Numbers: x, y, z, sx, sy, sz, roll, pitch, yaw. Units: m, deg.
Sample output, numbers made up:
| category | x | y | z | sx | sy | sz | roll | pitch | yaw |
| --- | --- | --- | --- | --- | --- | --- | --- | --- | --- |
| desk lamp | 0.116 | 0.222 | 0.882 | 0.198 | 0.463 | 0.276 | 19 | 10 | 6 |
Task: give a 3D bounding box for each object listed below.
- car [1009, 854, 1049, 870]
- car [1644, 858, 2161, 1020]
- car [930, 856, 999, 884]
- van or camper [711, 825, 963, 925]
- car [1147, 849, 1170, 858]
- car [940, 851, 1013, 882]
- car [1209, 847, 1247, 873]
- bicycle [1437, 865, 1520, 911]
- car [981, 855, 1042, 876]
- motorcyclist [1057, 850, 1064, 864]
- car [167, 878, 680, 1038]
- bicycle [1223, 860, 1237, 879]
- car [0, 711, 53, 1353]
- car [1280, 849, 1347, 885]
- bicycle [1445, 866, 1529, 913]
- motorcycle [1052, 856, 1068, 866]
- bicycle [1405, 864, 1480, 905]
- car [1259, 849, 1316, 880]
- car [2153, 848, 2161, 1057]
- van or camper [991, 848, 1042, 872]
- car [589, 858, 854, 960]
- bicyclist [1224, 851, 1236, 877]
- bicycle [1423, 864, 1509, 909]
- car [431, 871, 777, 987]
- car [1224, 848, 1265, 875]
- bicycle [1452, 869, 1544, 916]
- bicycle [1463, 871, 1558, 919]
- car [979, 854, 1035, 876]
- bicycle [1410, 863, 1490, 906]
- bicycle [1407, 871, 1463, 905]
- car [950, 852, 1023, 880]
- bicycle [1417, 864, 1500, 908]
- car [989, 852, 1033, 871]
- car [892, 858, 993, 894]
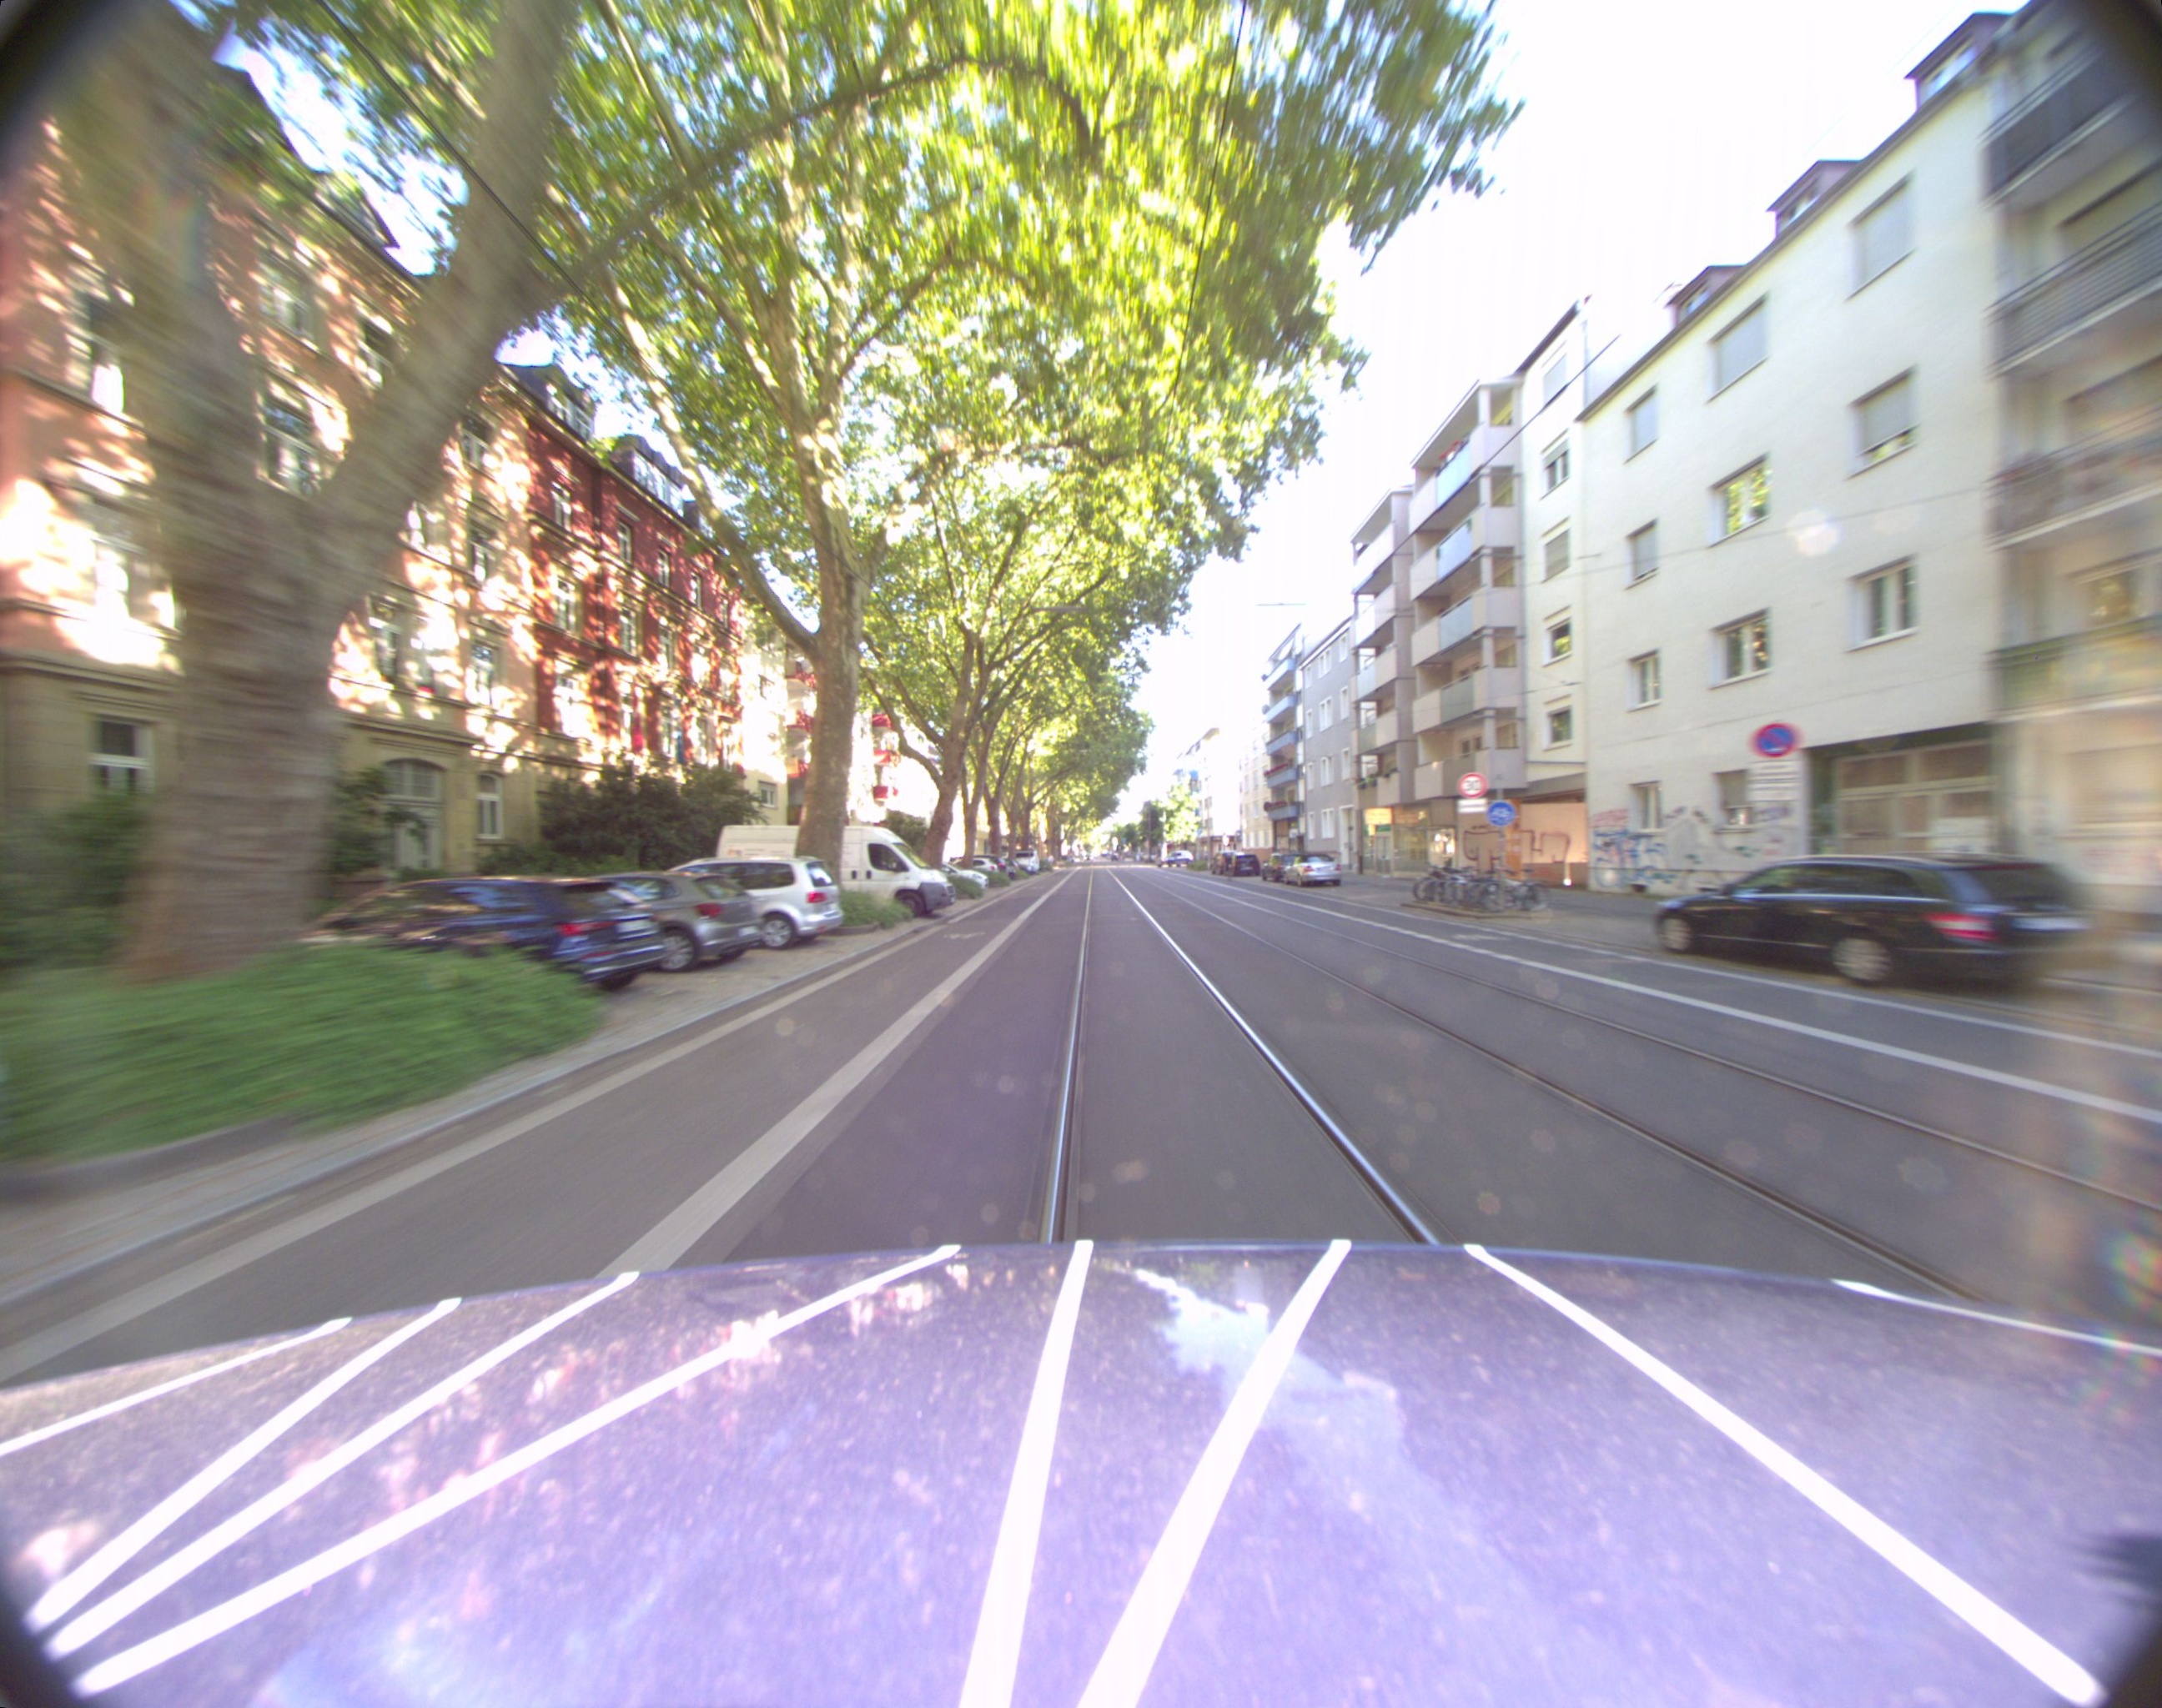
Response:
| category | x | y | z | sx | sy | sz | roll | pitch | yaw |
| --- | --- | --- | --- | --- | --- | --- | --- | --- | --- |
| car | -4.874 | 0.716 | 71.732 | 3.570 | 1.431 | 1.727 | -1 | 1 | 4 |
| car | 9.484 | 0.822 | 9.476 | 1.722 | 1.448 | 4.572 | -1 | 0 | 3 |
| car | -6.511 | 0.890 | 42.678 | 3.618 | 1.486 | 1.660 | -1 | 1 | 0 |
| van or camper | -6.389 | 0.528 | 20.464 | 6.047 | 2.476 | 2.107 | -1 | 1 | 1 |
| car | 13.442 | -0.074 | 132.276 | 3.953 | 1.515 | 1.587 | -1 | 1 | 5 |
| car | -6.134 | 0.742 | 45.053 | 4.003 | 1.734 | 1.805 | -1 | 0 | 1 |
| car | 10.531 | 0.385 | 54.737 | 1.784 | 1.728 | 4.489 | -3 | 0 | -1 |
| bicycle | 10.254 | 0.878 | 19.629 | 1.822 | 1.112 | 0.425 | -2 | 1 | 8 |
| car | -5.068 | 0.844 | 55.556 | 4.206 | 1.473 | 1.911 | 0 | 1 | 2 |
| motorcyclist | -2.368 | 0.396 | 88.149 | 0.756 | 1.609 | 0.588 | -1 | 1 | -6 |
| car | -6.967 | 1.060 | 8.410 | 4.064 | 1.451 | 1.796 | -1 | 1 | 0 |
| bicycle | 8.179 | 0.828 | 41.686 | 0.418 | 1.012 | 1.947 | 1 | 1 | 2 |
| car | -6.871 | 0.665 | 1.955 | 6.005 | 2.269 | 2.007 | -1 | 0 | 3 |
| car | 10.297 | 0.537 | 34.004 | 1.693 | 1.482 | 4.728 | -1 | 0 | 2 |
| bicycle | 10.198 | 0.895 | 19.129 | 1.792 | 1.112 | 0.425 | -2 | 1 | 8 |
| motorcycle | -2.438 | 0.849 | 88.162 | 1.832 | 1.112 | 0.590 | -1 | 1 | -7 |
| bicycle | 10.425 | 0.888 | 21.969 | 1.897 | 1.112 | 0.402 | -2 | 1 | 8 |
| car | 10.504 | 0.504 | 38.960 | 1.798 | 1.482 | 4.240 | -1 | 0 | 0 |
| car | 9.269 | 0.765 | 3.789 | 1.723 | 1.622 | 4.346 | -1 | 0 | 0 |
| van or camper | -5.643 | 0.505 | 67.192 | 4.388 | 2.097 | 1.838 | -1 | 1 | -2 |
| car | -6.411 | 0.945 | 13.909 | 3.965 | 1.646 | 1.795 | -1 | 1 | -2 |
| bicyclist | 8.181 | 0.539 | 41.845 | 0.510 | 1.386 | 0.709 | 1 | 1 | 1 |
| bicycle | 10.273 | 0.872 | 20.315 | 1.972 | 1.112 | 0.425 | -2 | 1 | 8 |
| car | -6.864 | 1.047 | 11.255 | 3.964 | 1.470 | 1.796 | -1 | 1 | 1 |
| car | 10.603 | 0.444 | 49.523 | 1.660 | 1.591 | 4.202 | -3 | 0 | 0 |
| bicycle | 10.049 | 0.926 | 18.347 | 1.897 | 1.032 | 0.402 | -2 | 1 | 8 |
| bicycle | 10.029 | 0.968 | 17.780 | 1.897 | 1.032 | 0.402 | -2 | 1 | 8 |
| car | -5.148 | 0.764 | 53.379 | 3.837 | 1.435 | 1.699 | 0 | 1 | -4 |
| bicycle | 10.351 | 0.861 | 21.339 | 1.934 | 1.112 | 0.440 | -2 | 1 | 8 |
| bicycle | 10.507 | 1.006 | 22.558 | 1.624 | 0.912 | 0.401 | -3 | 1 | -15 |
| car | -5.873 | 0.741 | 47.621 | 4.302 | 1.643 | 1.743 | -1 | 1 | -1 |
| bicycle | 10.317 | 0.866 | 20.801 | 1.964 | 1.112 | 0.440 | -2 | 1 | 8 |
| car | -5.935 | 0.651 | 64.521 | 3.572 | 1.522 | 1.677 | -1 | 1 | -1 |
| car | -5.856 | 0.929 | 32.509 | 3.963 | 1.471 | 1.688 | 0 | 1 | 2 |
